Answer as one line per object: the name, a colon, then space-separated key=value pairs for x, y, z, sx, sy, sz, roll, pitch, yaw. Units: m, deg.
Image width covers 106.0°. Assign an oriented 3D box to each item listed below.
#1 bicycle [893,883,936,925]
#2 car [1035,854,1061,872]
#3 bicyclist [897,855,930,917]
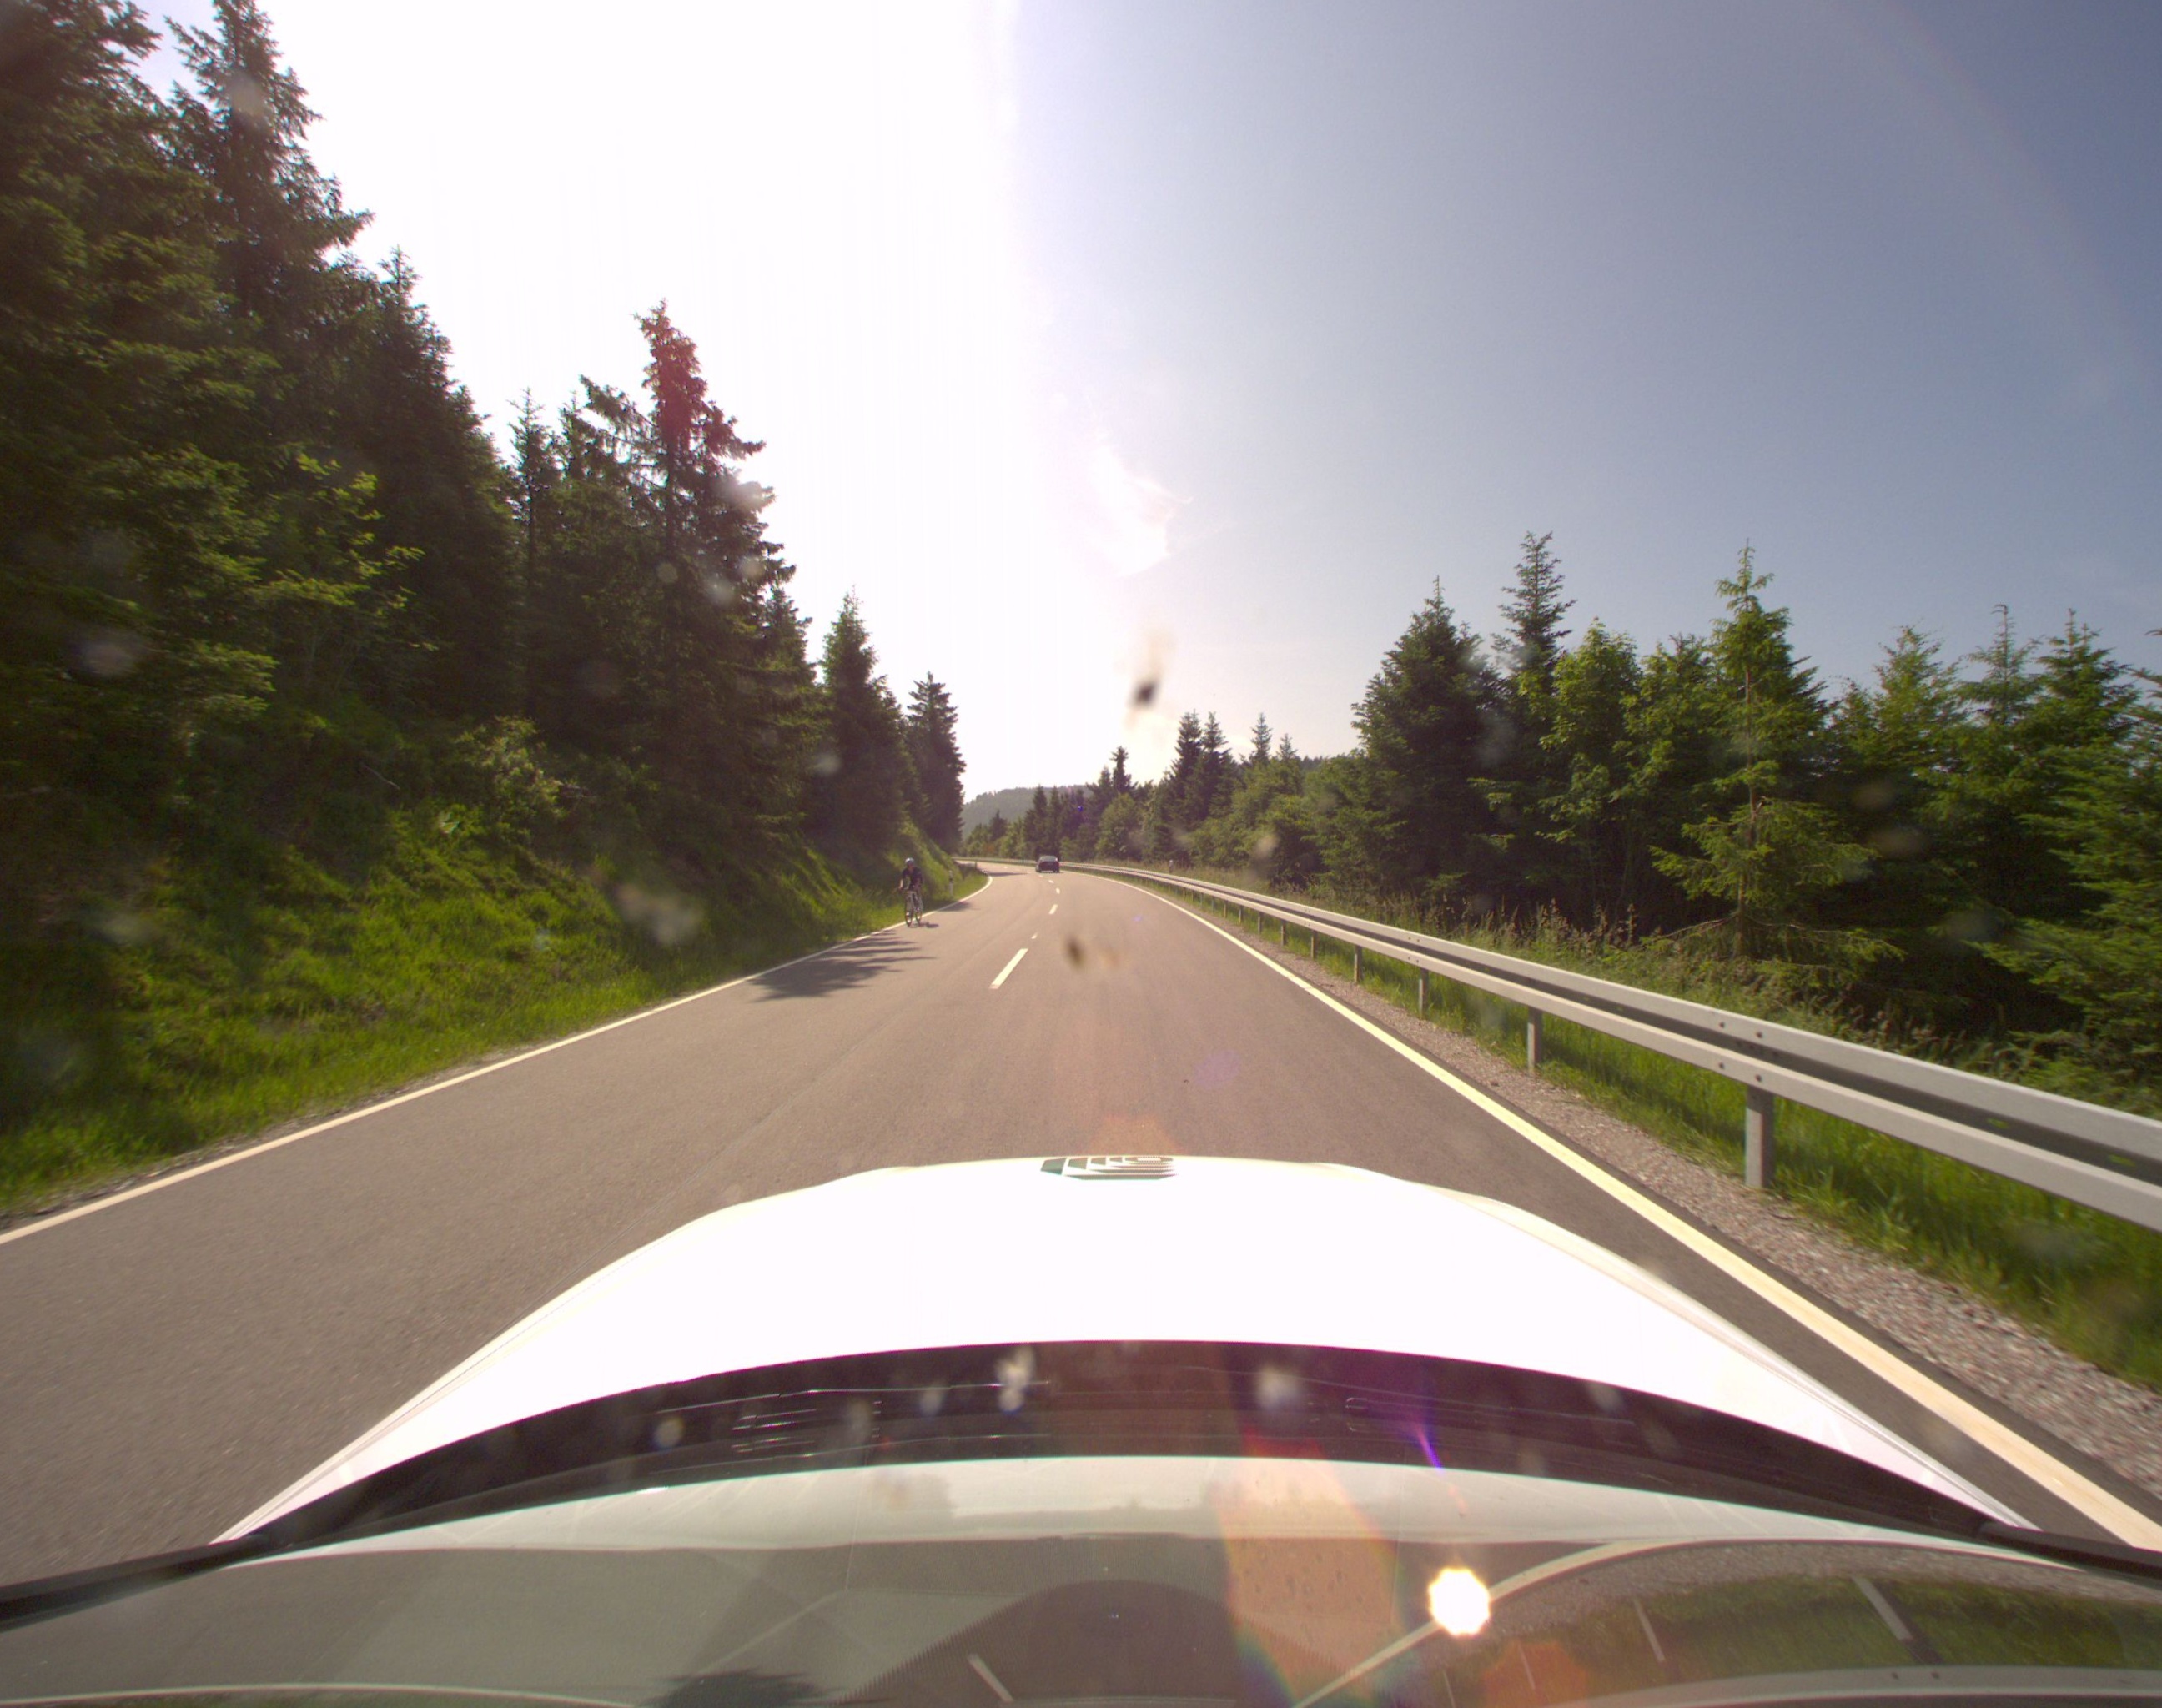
bicycle: x=-4.031 y=1.193 z=19.815 sx=0.551 sy=0.886 sz=2.063 roll=-2 pitch=0 yaw=1
car: x=-2.852 y=0.799 z=69.924 sx=1.775 sy=1.442 sz=3.698 roll=-2 pitch=0 yaw=-9
bicyclist: x=-4.046 y=0.749 z=19.712 sx=0.539 sy=1.451 sz=0.984 roll=-2 pitch=0 yaw=1
